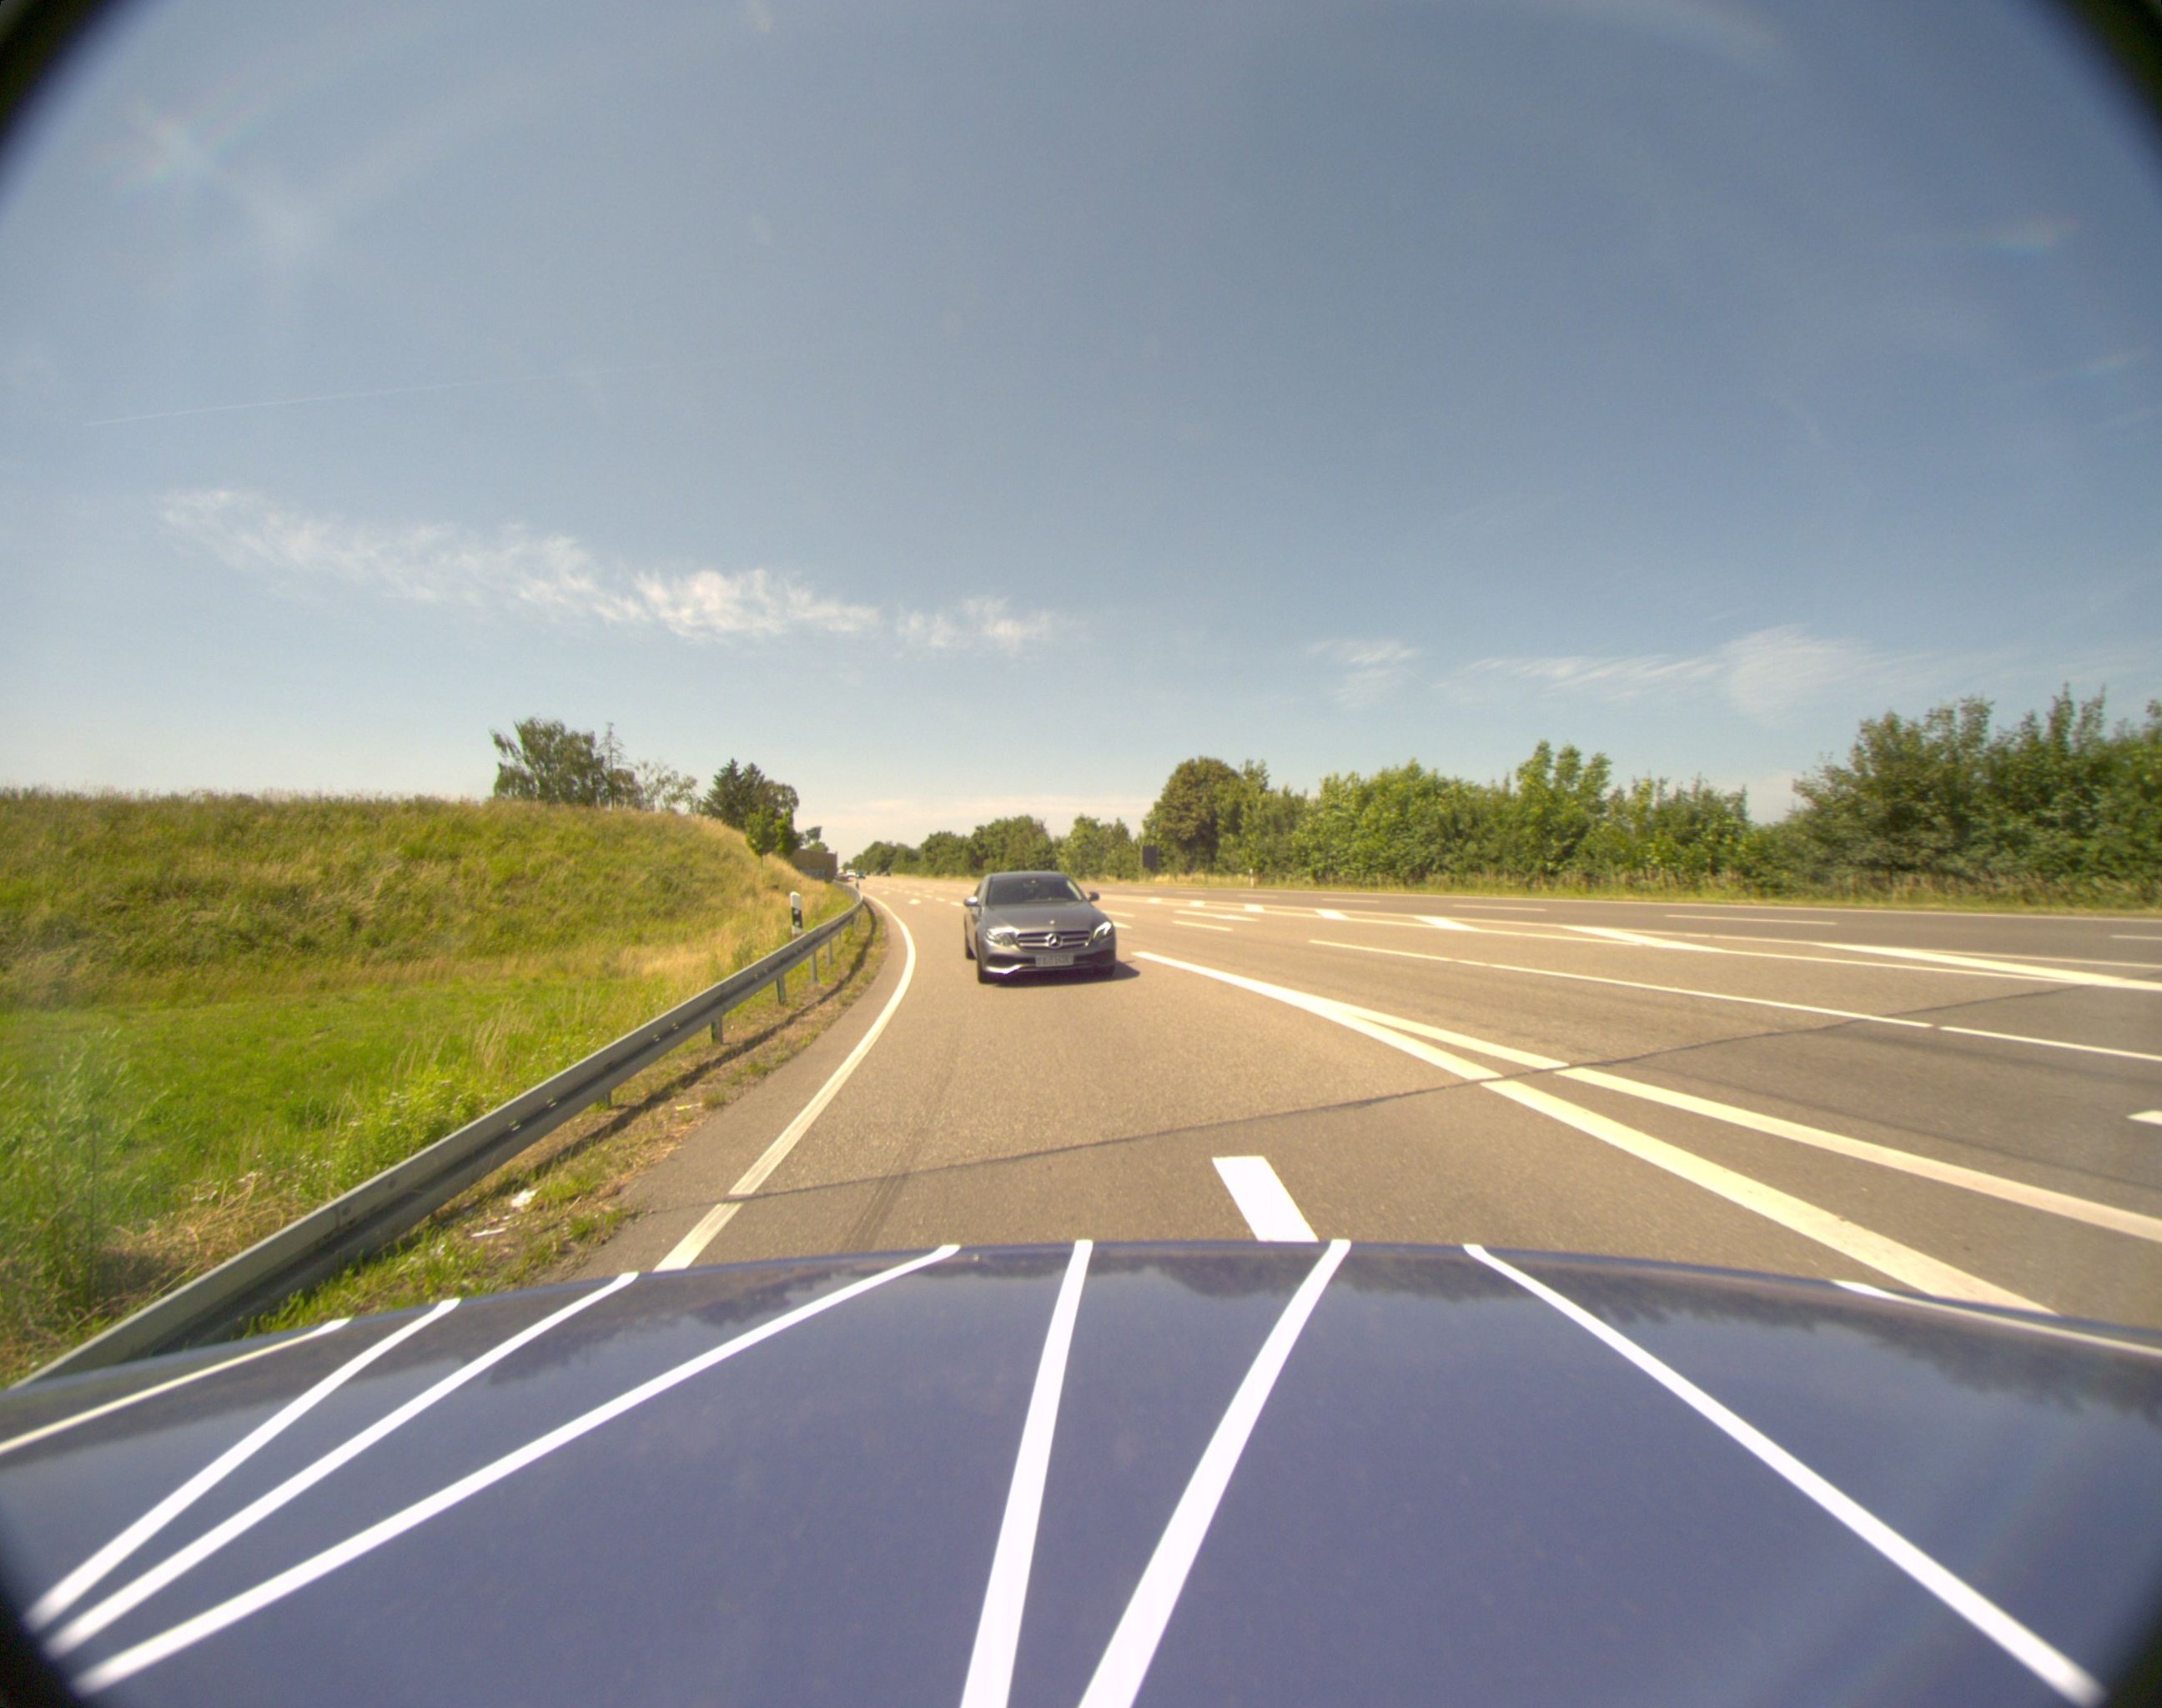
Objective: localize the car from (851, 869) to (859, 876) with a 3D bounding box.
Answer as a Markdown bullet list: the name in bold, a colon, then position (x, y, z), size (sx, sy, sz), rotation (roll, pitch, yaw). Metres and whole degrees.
- **car**: position (-57.858, 4.753, 194.506), size (1.804, 1.674, 3.994), rotation (-3, 1, -16)

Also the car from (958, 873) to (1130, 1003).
- **car**: position (-0.790, 1.082, 11.652), size (1.895, 1.439, 4.521), rotation (-2, 0, -12)

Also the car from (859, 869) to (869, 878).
- **car**: position (-44.006, 3.865, 154.319), size (1.804, 1.674, 3.994), rotation (-3, 1, -17)

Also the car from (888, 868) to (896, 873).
- **car**: position (-54.402, 4.844, 218.371), size (1.886, 1.390, 4.524), rotation (-2, 0, -19)

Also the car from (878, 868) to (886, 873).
- **car**: position (-63.340, 5.193, 241.622), size (2.036, 1.630, 4.561), rotation (0, 0, -20)
